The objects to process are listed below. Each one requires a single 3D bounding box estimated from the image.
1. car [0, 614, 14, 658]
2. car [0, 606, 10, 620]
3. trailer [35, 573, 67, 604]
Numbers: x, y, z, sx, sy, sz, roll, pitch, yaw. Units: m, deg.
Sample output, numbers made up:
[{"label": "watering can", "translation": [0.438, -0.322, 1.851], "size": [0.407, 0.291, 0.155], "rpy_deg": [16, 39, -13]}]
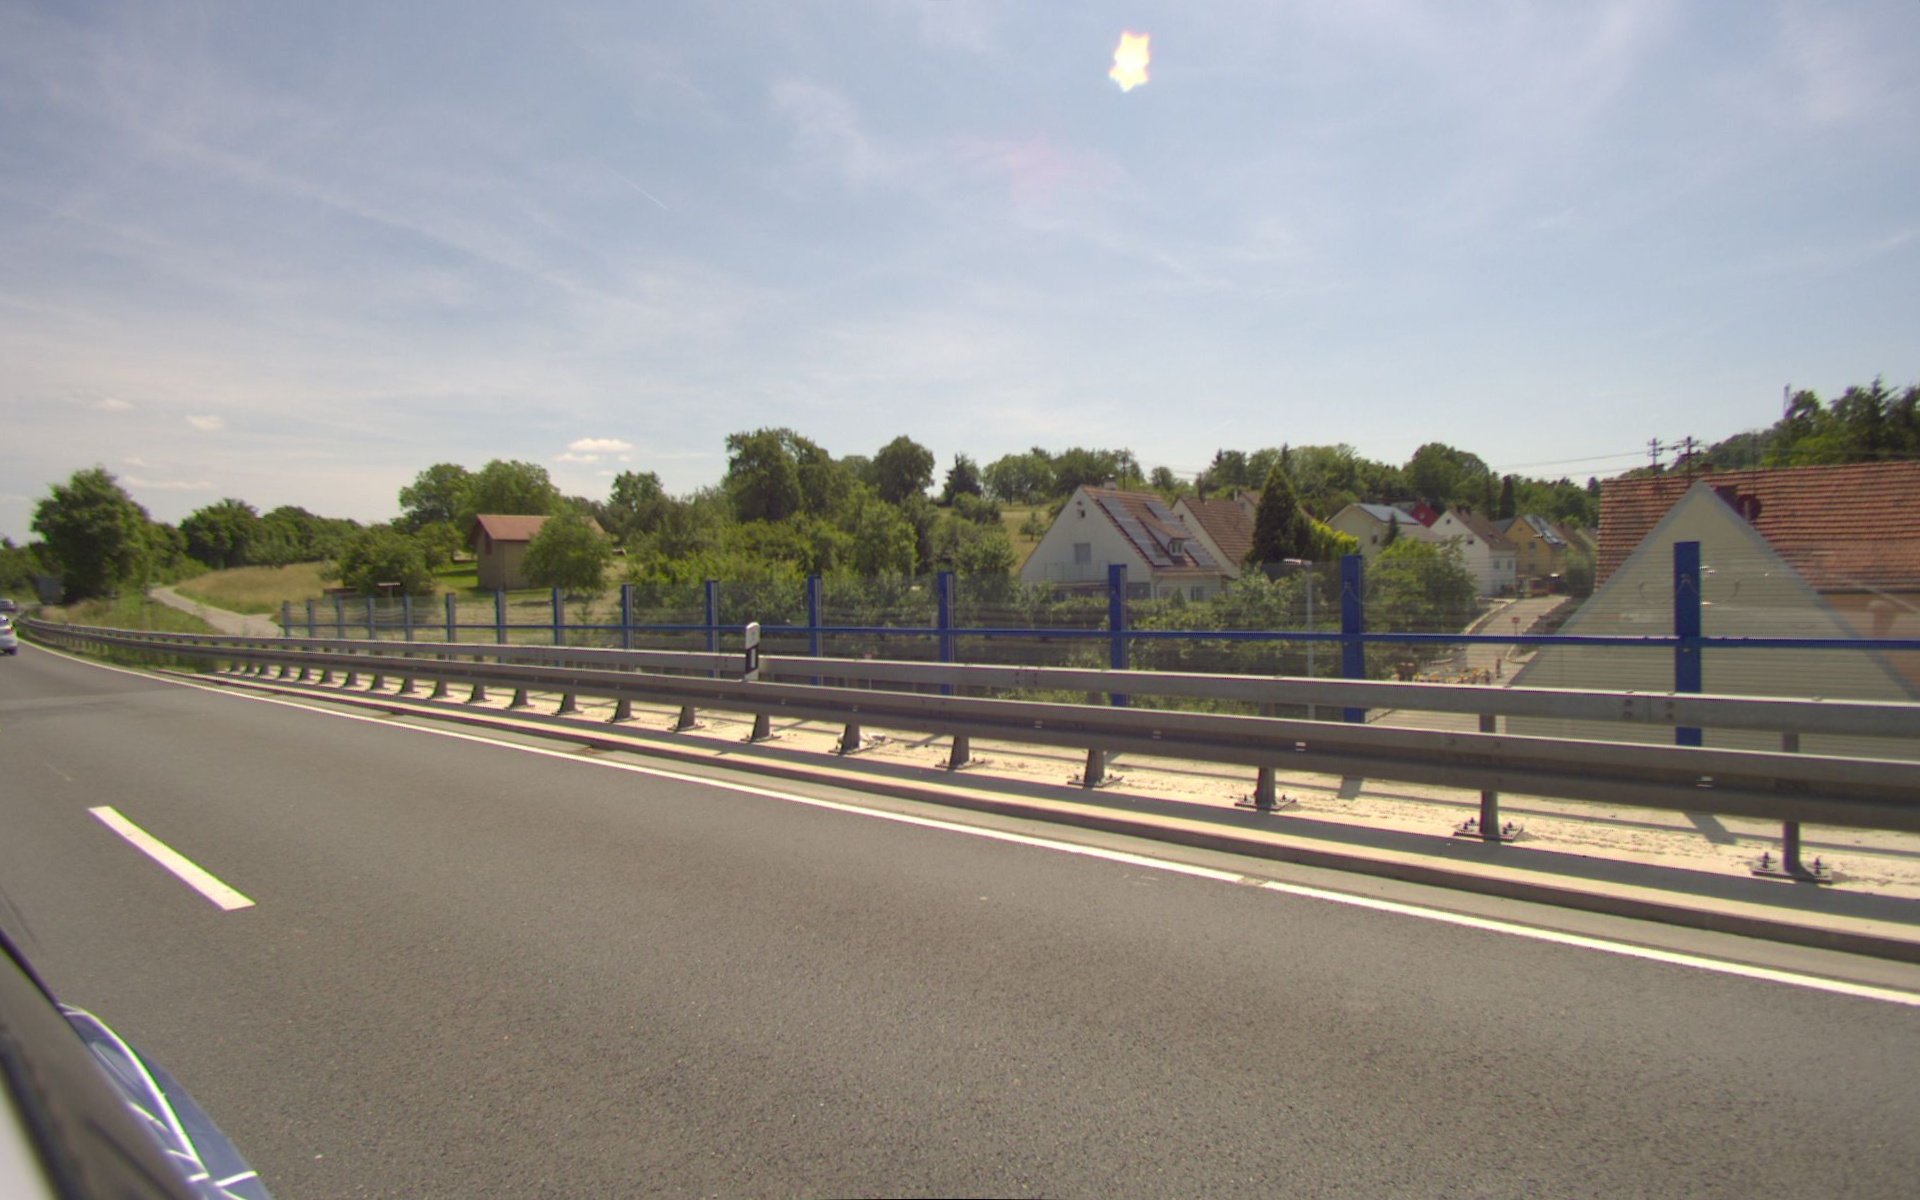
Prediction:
[{"label": "car", "translation": [-35.451, 1.288, 36.420], "size": [4.117, 1.516, 1.689], "rpy_deg": [0, -1, 41]}, {"label": "car", "translation": [-104.831, 1.436, 110.248], "size": [1.625, 1.452, 4.165], "rpy_deg": [1, -1, -40]}, {"label": "trailer", "translation": [-131.704, -1.568, 146.722], "size": [2.414, 4.216, 14.043], "rpy_deg": [1, -1, -38]}]
